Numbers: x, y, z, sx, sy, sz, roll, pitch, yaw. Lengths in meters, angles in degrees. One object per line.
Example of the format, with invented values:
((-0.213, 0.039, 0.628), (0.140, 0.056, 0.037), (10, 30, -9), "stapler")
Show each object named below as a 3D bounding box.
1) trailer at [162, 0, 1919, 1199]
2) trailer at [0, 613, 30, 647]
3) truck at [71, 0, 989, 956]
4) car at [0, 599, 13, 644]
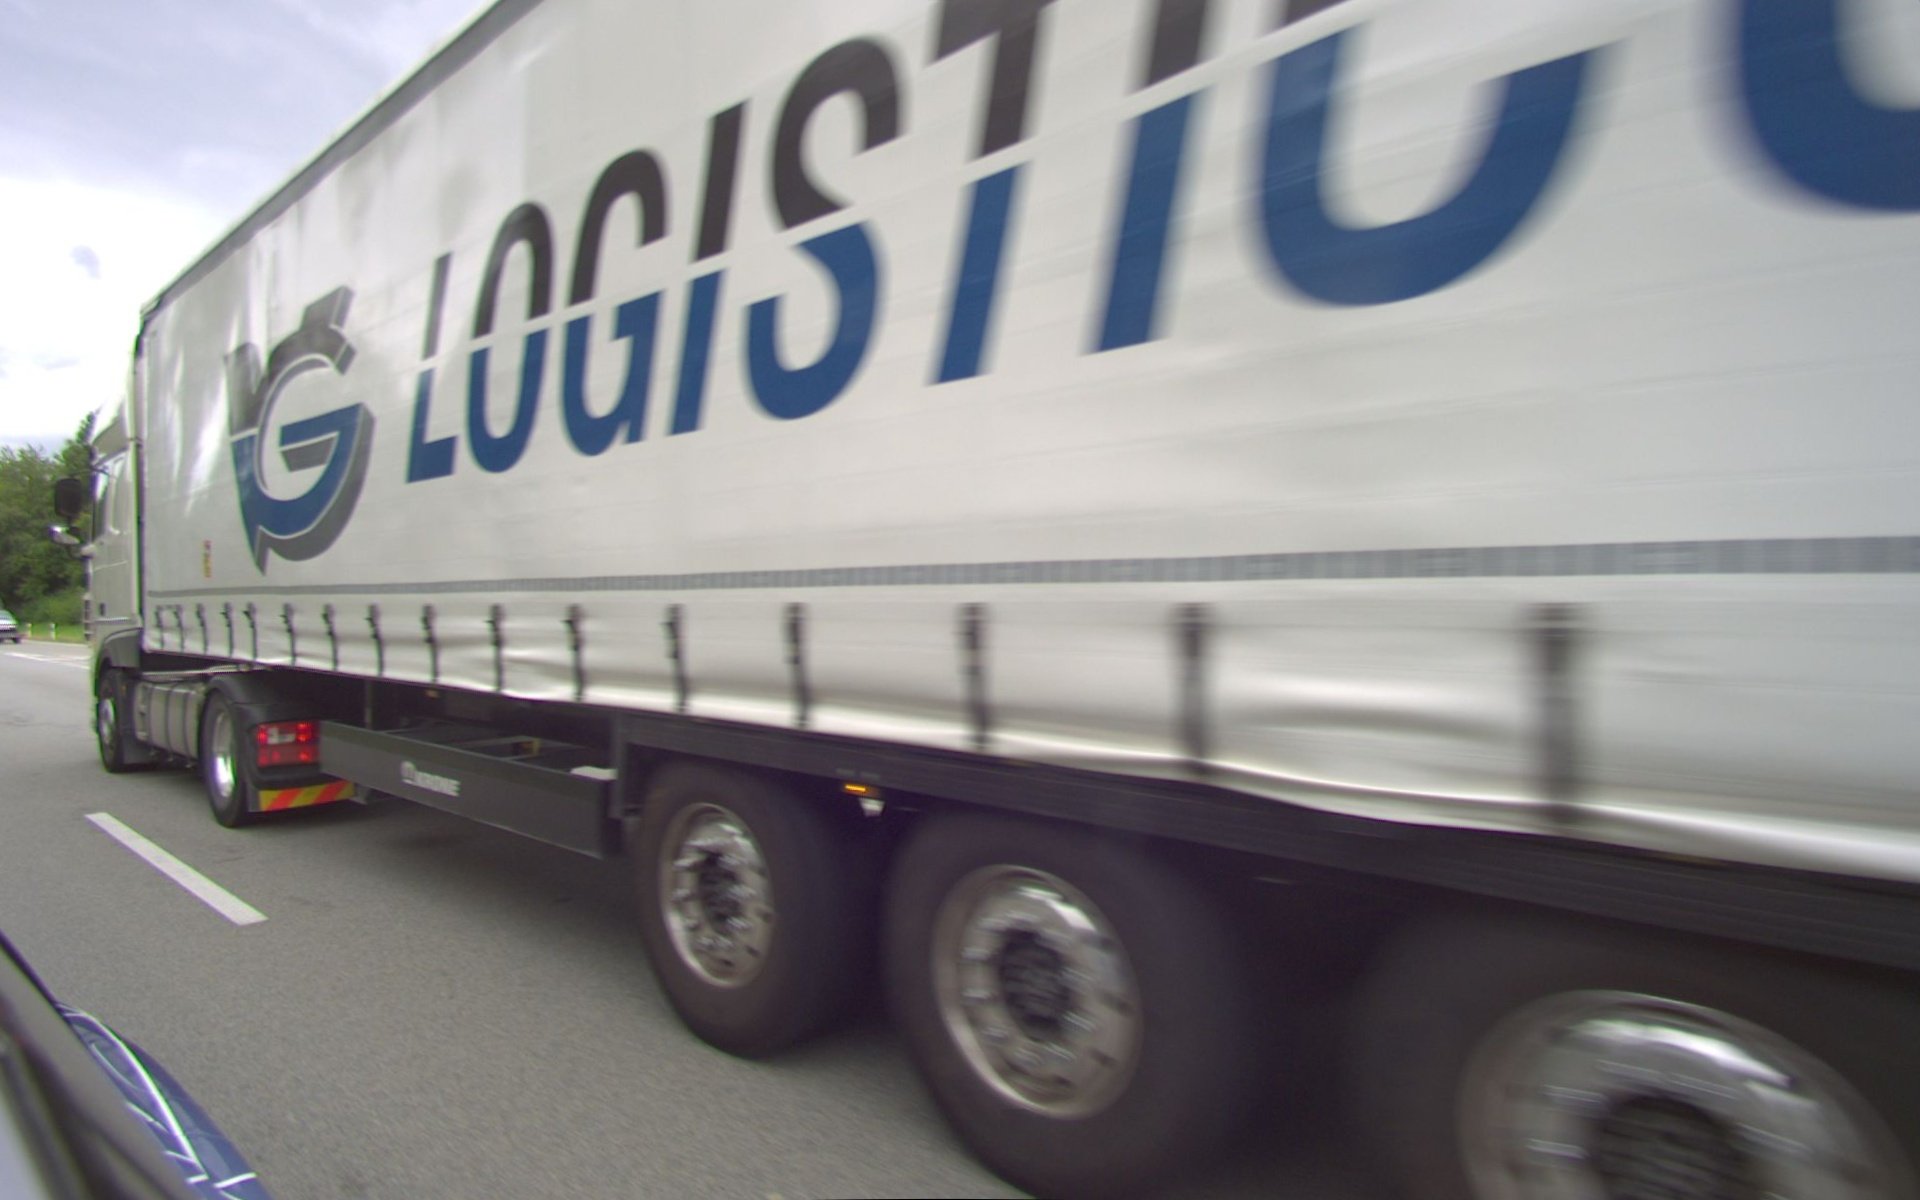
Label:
((0.254, -0.722, 4.265), (14.266, 4.097, 3.170), (-1, 0, 41), "trailer")
((-53.086, 1.615, 55.561), (5.680, 1.805, 2.036), (-1, 0, 37), "trailer")
((-4.456, -0.598, 8.392), (9.571, 4.093, 3.156), (-1, 0, 41), "truck")
((-58.088, 1.241, 59.651), (7.155, 2.549, 2.234), (-1, -2, 39), "car")
